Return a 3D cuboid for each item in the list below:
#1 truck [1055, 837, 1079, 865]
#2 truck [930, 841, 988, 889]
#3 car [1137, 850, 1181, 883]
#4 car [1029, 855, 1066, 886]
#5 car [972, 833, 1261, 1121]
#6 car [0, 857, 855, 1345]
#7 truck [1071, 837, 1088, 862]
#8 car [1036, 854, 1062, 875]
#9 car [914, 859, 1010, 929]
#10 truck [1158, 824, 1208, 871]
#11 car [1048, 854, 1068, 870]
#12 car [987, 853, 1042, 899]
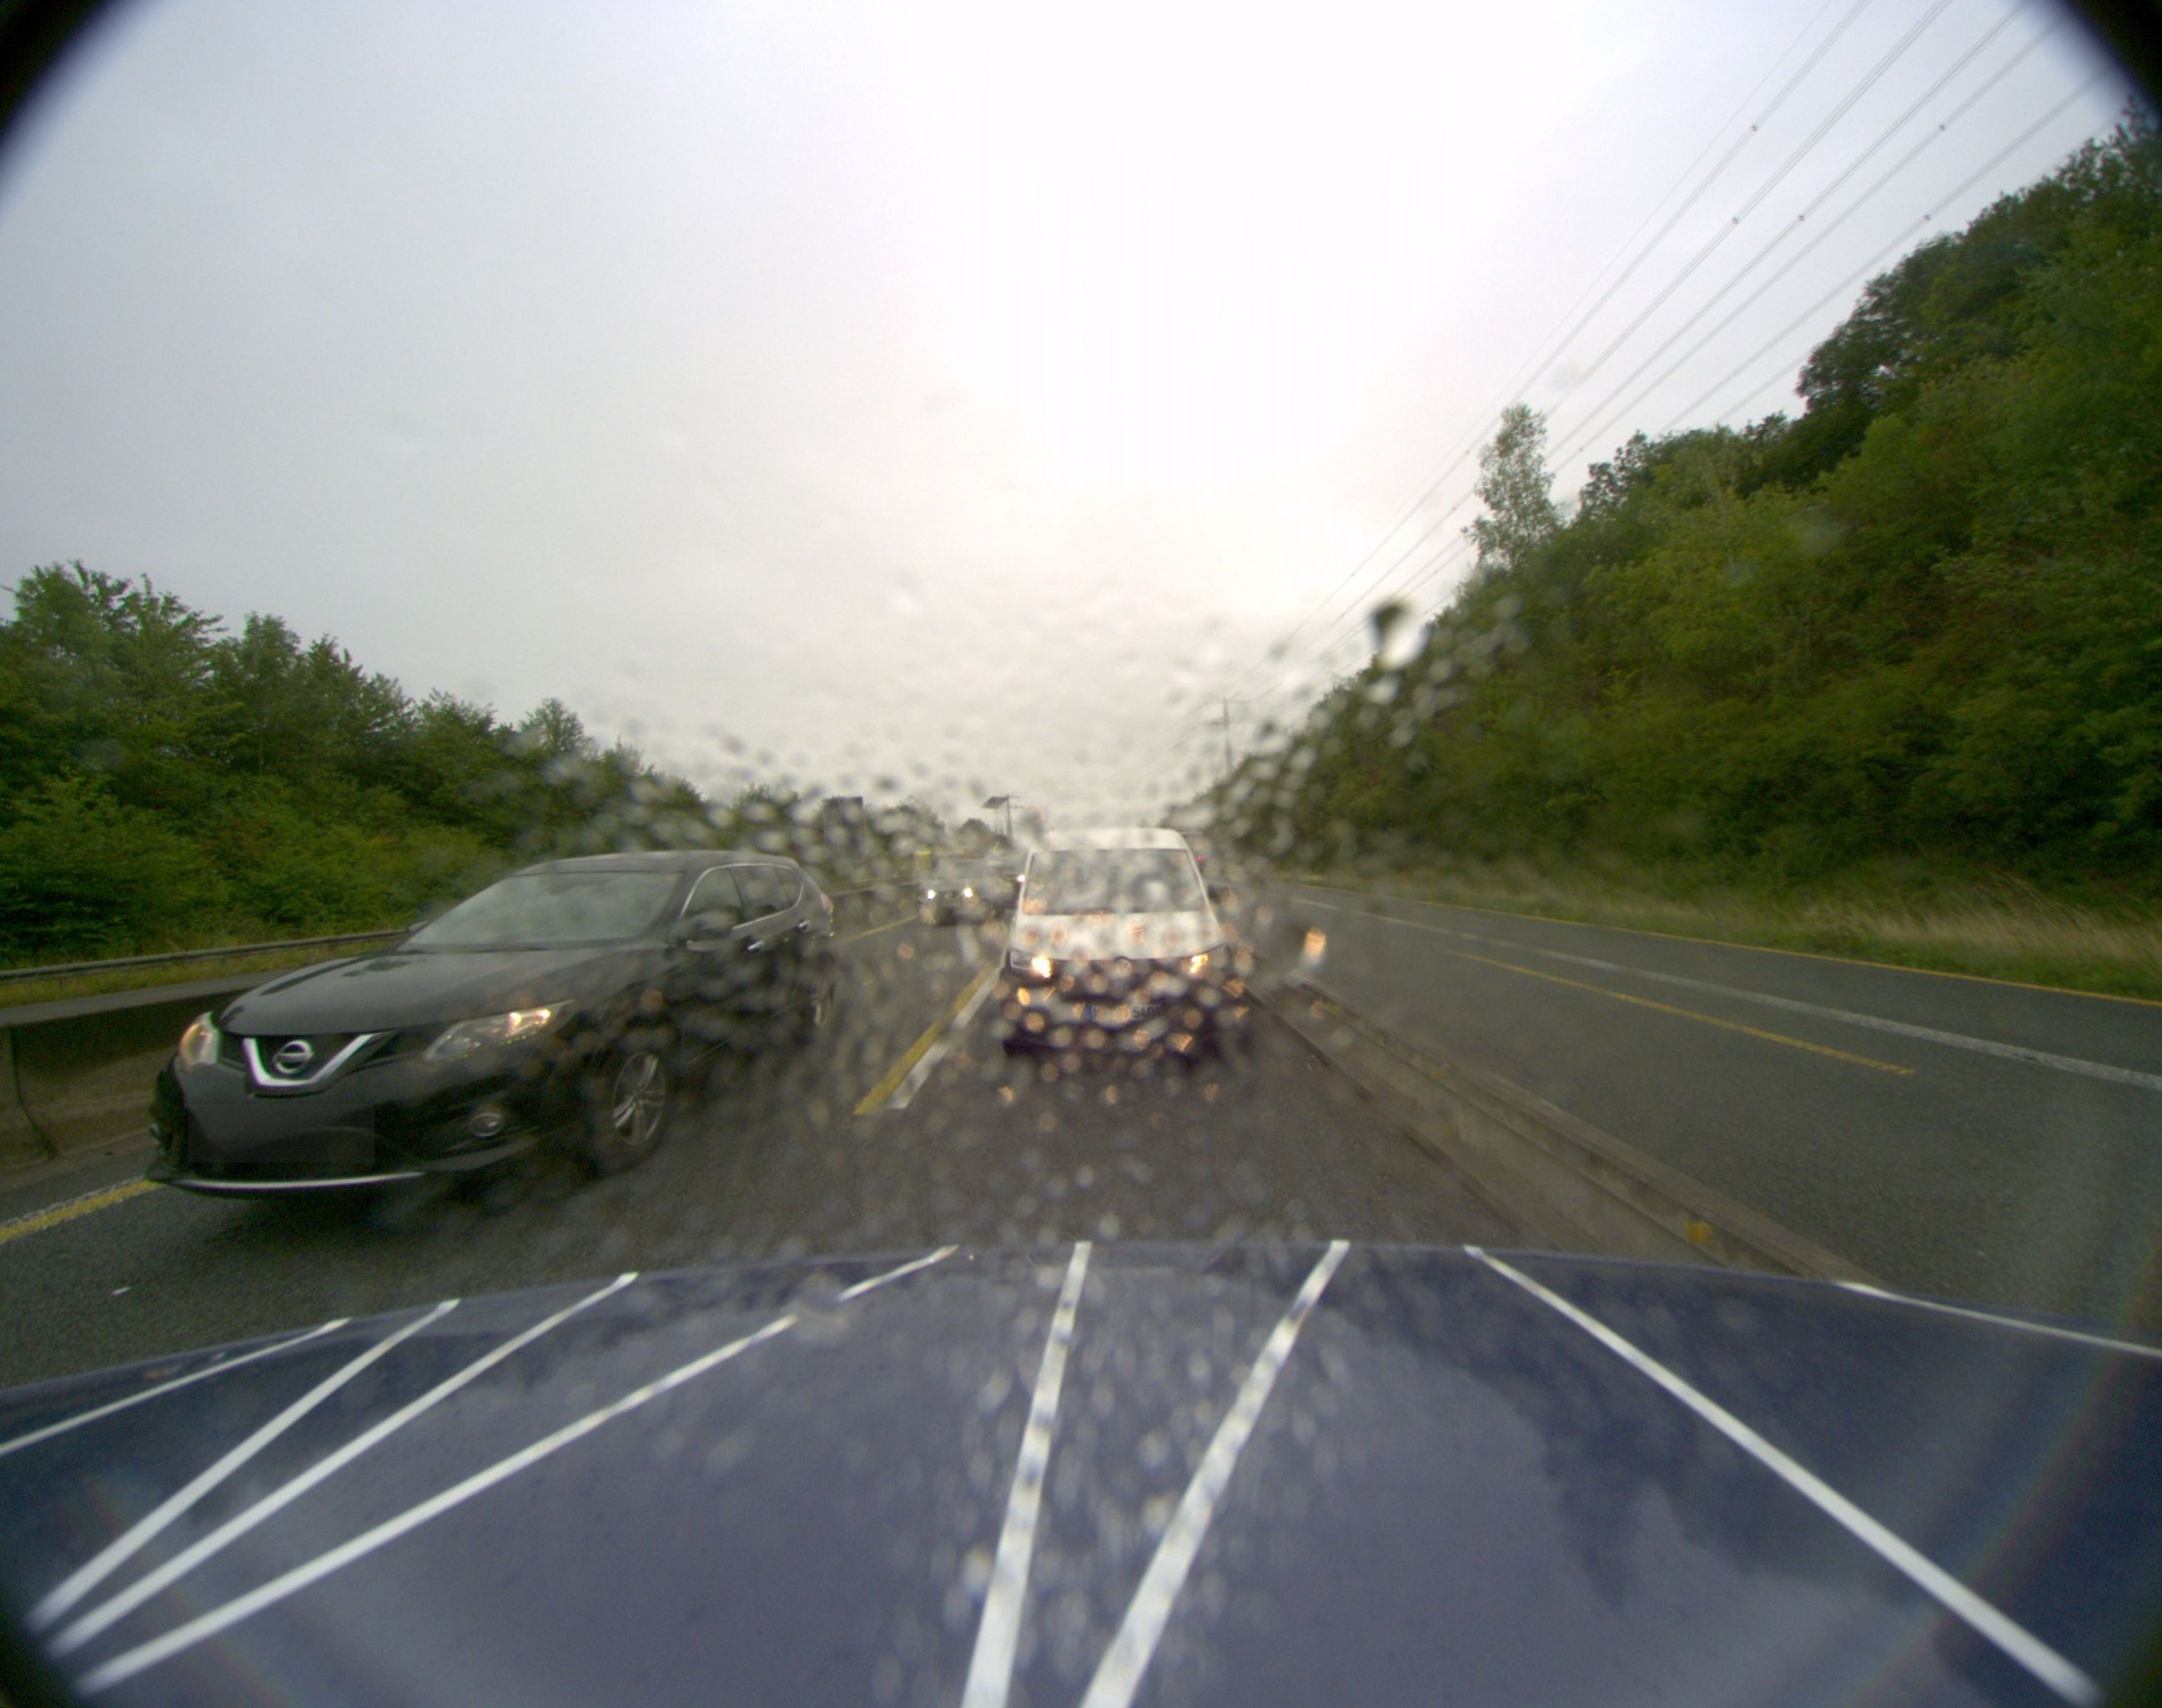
[{"bbox_3d":[-1.733,-0.393,99.804,2.619,3.404,9.575,-2,1,2],"label":"truck"},{"bbox_3d":[-9.524,0.744,60.371,2.619,3.404,9.576,-2,1,2],"label":"truck"},{"bbox_3d":[4.033,0.614,39.850,1.815,1.550,3.989,-2,1,0],"label":"car"},{"bbox_3d":[-1.779,0.844,41.131,1.784,1.482,4.123,-2,1,0],"label":"car"},{"bbox_3d":[0.226,0.760,7.189,1.784,1.775,4.697,-2,1,0],"label":"car"},{"bbox_3d":[-3.187,0.923,5.106,1.894,1.665,4.640,-2,1,0],"label":"car"},{"bbox_3d":[-0.248,-0.798,126.672,2.619,3.869,9.574,-2,1,0],"label":"truck"},{"bbox_3d":[-2.446,0.799,58.907,1.784,1.482,4.123,-2,1,0],"label":"car"},{"bbox_3d":[-2.925,0.944,19.563,1.784,1.482,4.123,-2,1,0],"label":"car"},{"bbox_3d":[8.008,-0.541,61.296,2.541,3.333,12.049,-2,1,1],"label":"truck"},{"bbox_3d":[-2.228,0.760,74.013,1.784,1.482,4.123,-2,1,0],"label":"car"},{"bbox_3d":[-2.572,0.826,30.398,1.784,1.589,4.123,-2,1,0],"label":"car"}]
